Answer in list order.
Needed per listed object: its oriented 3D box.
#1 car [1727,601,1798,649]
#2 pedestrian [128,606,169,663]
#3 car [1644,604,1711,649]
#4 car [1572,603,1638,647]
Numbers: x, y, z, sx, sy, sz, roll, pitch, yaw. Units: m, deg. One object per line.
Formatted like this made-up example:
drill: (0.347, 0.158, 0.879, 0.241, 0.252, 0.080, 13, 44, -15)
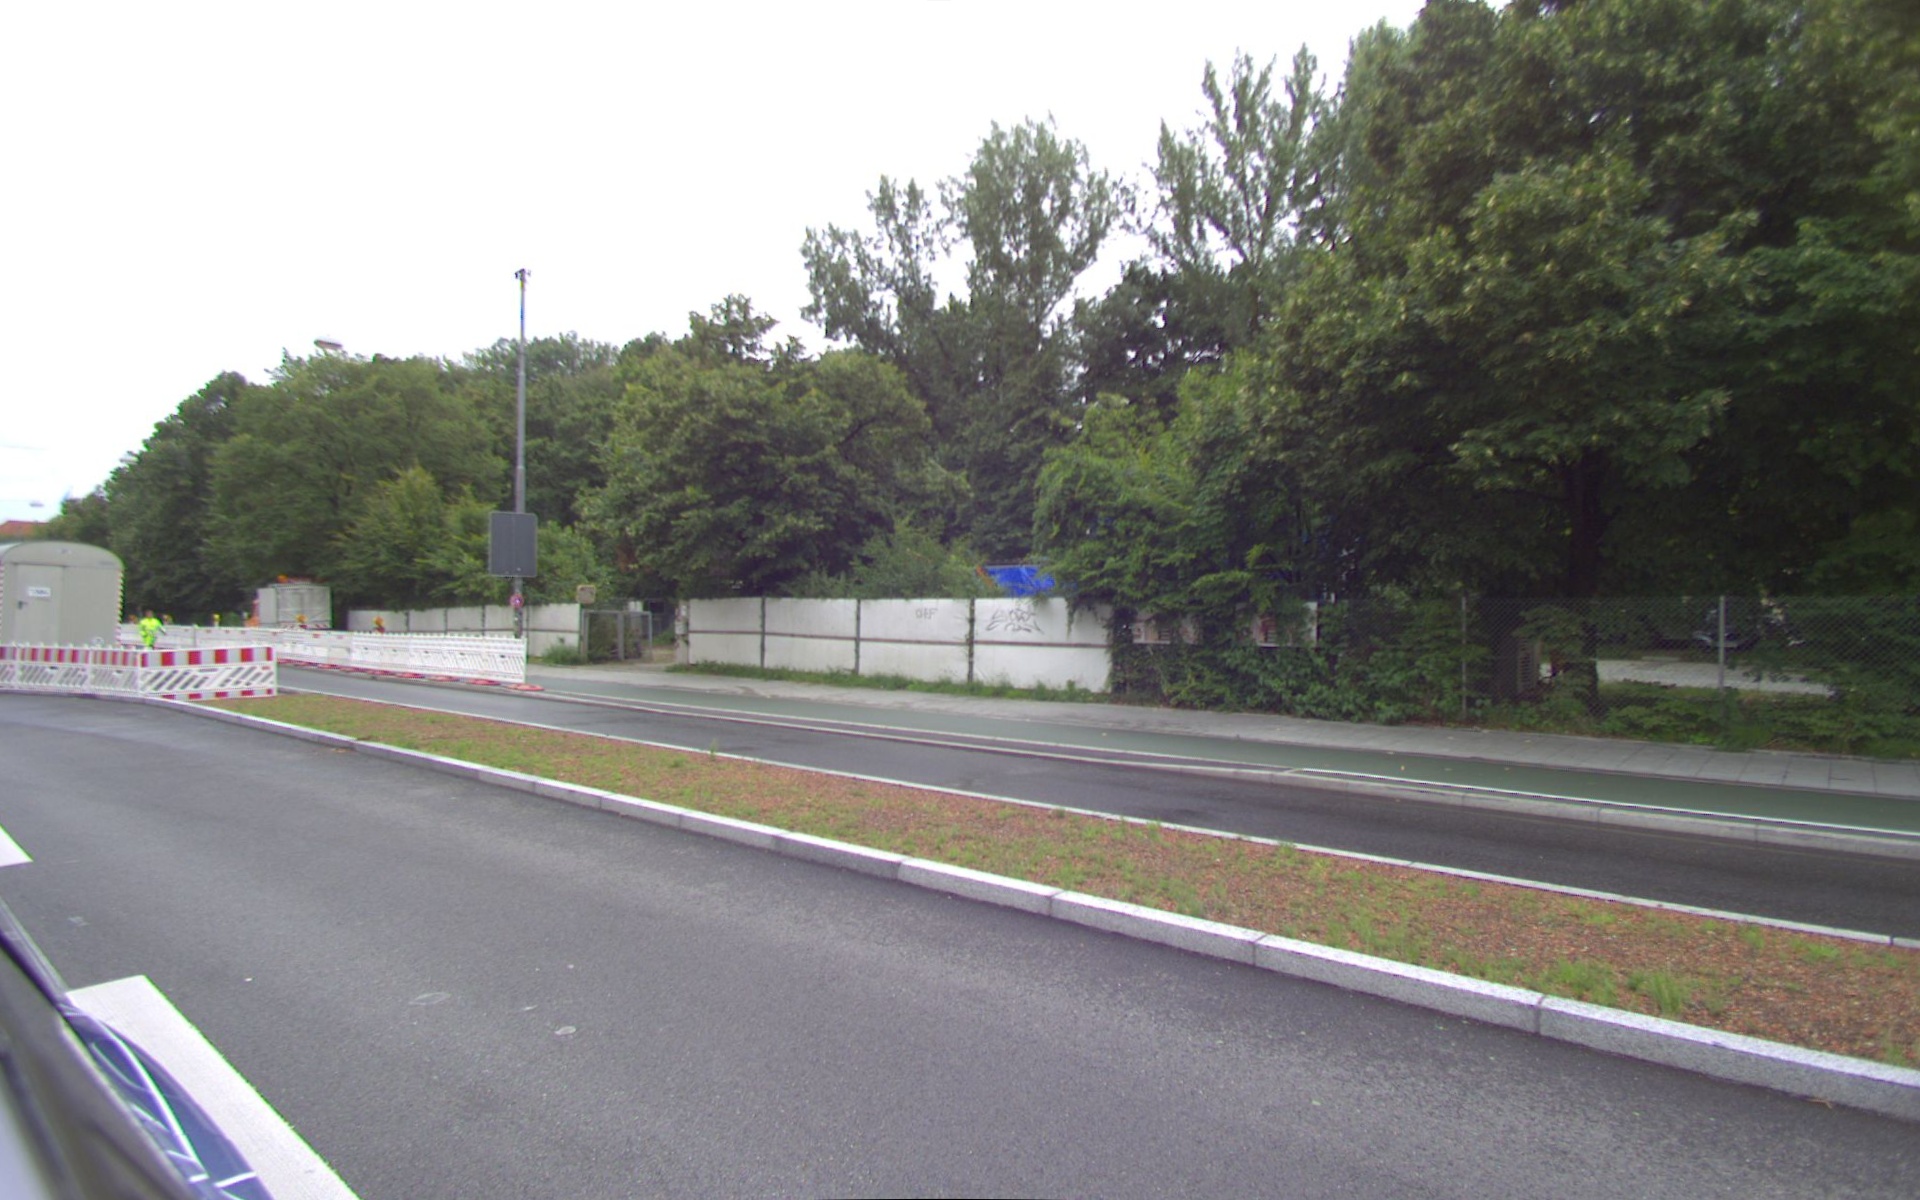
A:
car: (30.556, 0.943, 38.599, 1.997, 1.732, 3.949, -1, -2, 38)
pedestrian: (-28.105, 1.184, 35.052, 0.874, 1.956, 0.879, -1, -2, 38)
car: (29.012, 1.072, 40.883, 1.997, 1.732, 3.949, -1, -2, 38)
car: (26.897, 1.045, 42.140, 1.997, 1.732, 3.950, -1, -2, 37)
